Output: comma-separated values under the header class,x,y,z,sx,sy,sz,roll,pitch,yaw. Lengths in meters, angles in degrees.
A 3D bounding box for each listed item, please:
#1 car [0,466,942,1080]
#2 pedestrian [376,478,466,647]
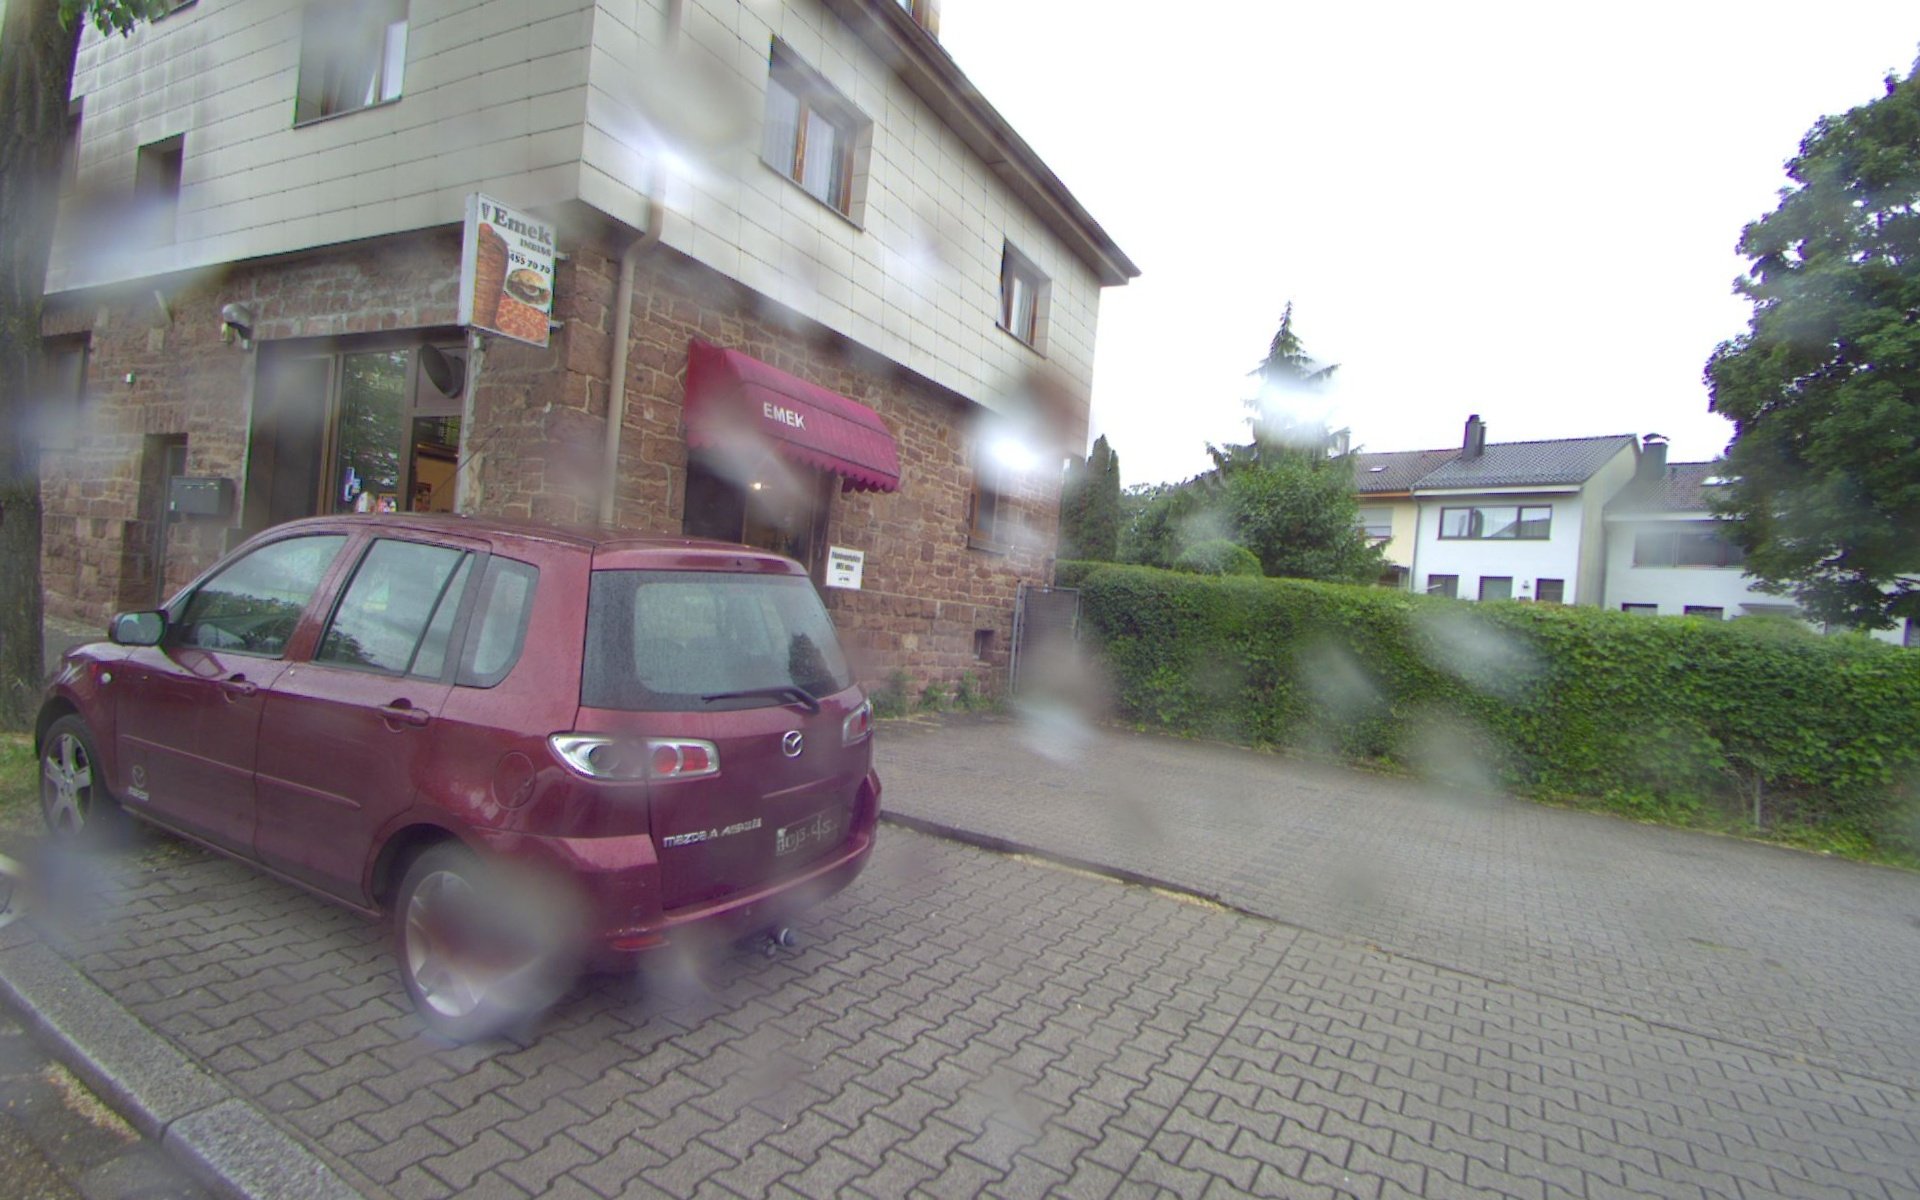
class,x,y,z,sx,sy,sz,roll,pitch,yaw
car,-2.129,0.381,4.092,3.693,1.521,1.614,4,-3,29
pedestrian,-5.586,-0.383,10.440,0.447,1.679,0.493,6,-1,31
